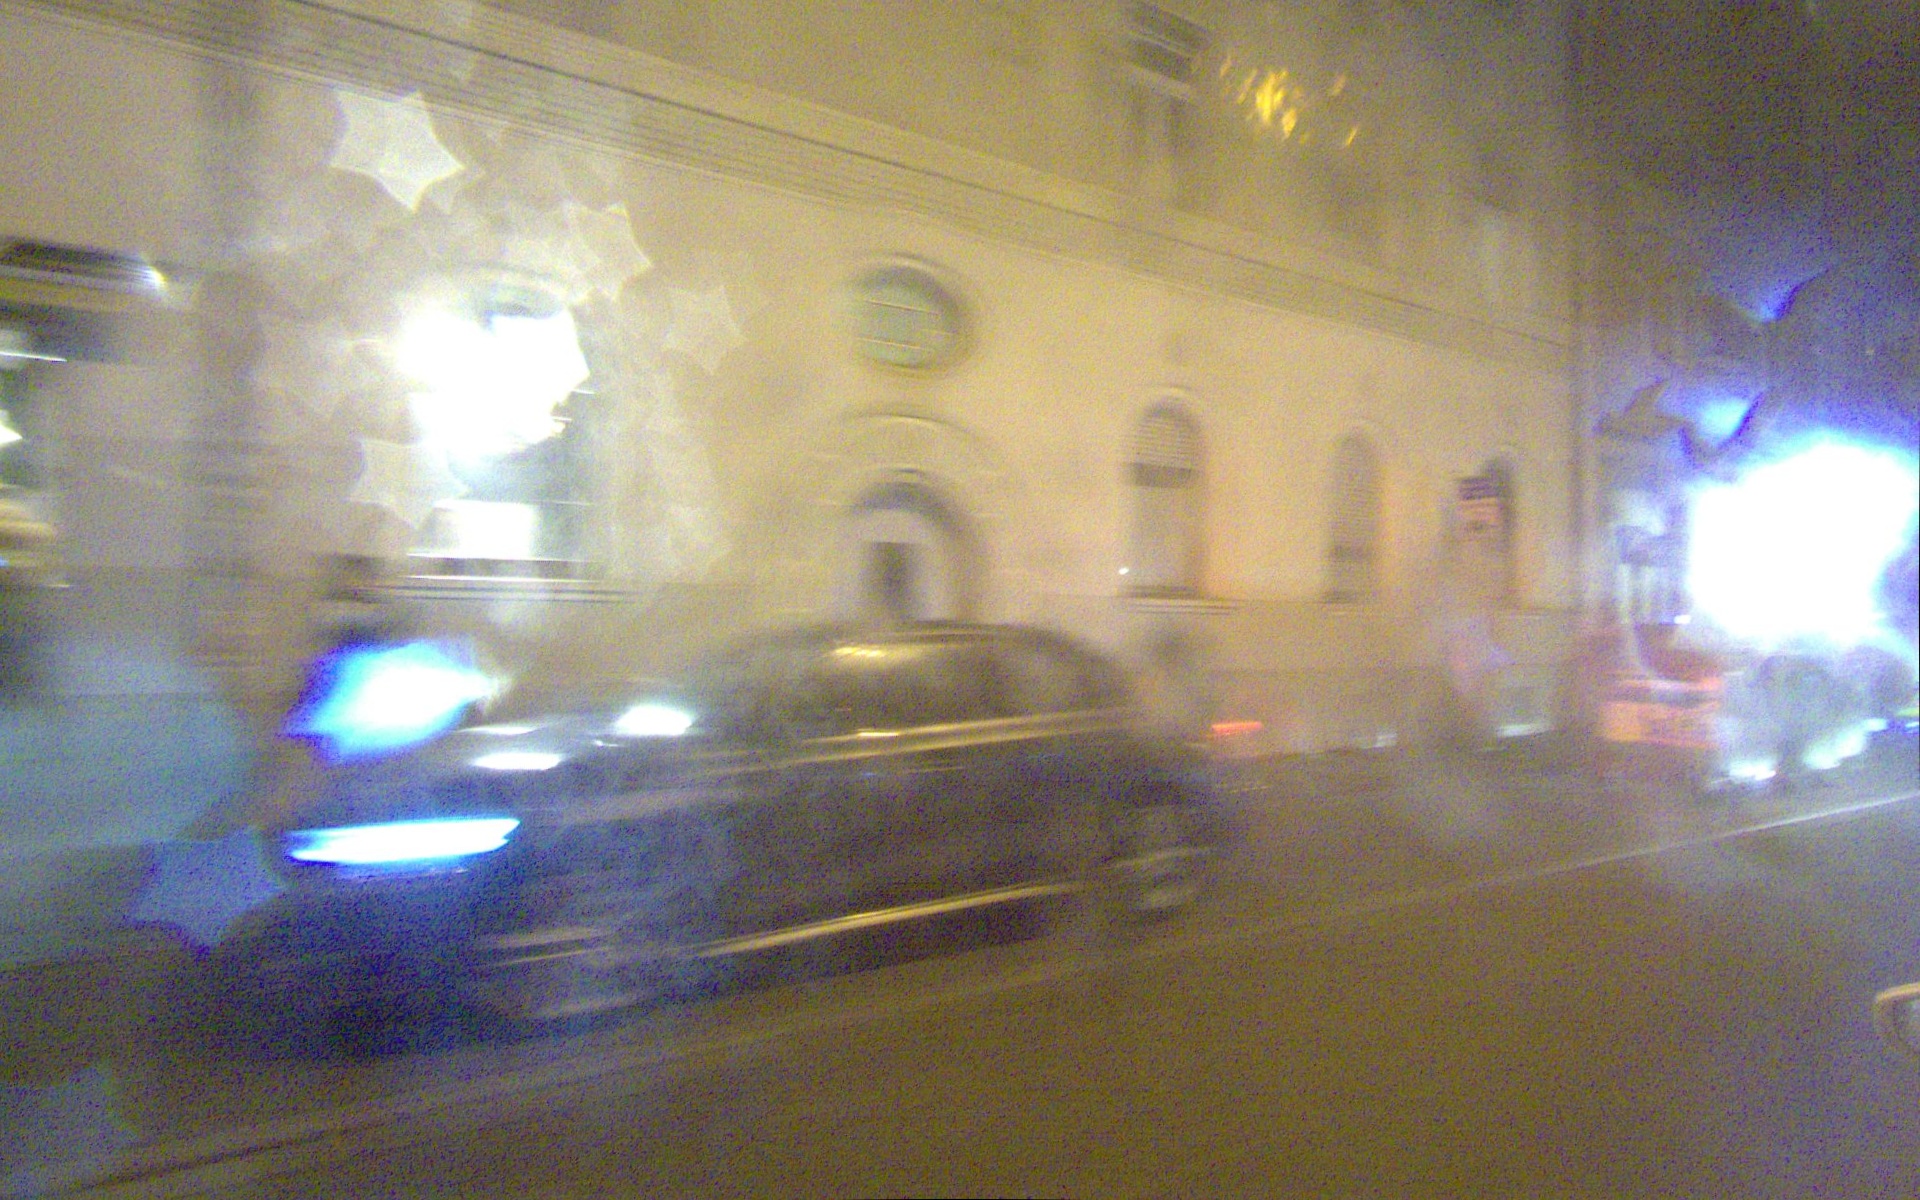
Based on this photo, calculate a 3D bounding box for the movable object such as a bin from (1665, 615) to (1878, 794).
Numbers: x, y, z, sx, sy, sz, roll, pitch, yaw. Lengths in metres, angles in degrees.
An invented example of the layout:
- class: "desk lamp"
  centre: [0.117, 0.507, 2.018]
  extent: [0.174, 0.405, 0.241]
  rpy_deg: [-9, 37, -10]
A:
- class: "movable object such as a bin"
  centre: [7.429, 0.900, 9.228]
  extent: [1.093, 1.479, 1.160]
  rpy_deg: [1, 0, -28]

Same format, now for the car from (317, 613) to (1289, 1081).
- class: "car"
  centre: [-0.521, 0.784, 4.772]
  extent: [4.173, 1.377, 1.646]
  rpy_deg: [1, -1, -31]

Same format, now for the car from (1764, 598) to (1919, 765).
- class: "car"
  centre: [11.252, 0.883, 11.850]
  extent: [3.679, 1.729, 1.595]
  rpy_deg: [1, -1, -31]

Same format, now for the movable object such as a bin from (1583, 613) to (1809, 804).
- class: "movable object such as a bin"
  centre: [6.349, 0.877, 8.710]
  extent: [1.093, 1.479, 1.203]
  rpy_deg: [1, 0, -28]

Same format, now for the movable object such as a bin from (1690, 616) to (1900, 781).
- class: "movable object such as a bin"
  centre: [8.346, 0.929, 10.074]
  extent: [1.136, 1.479, 1.257]
  rpy_deg: [1, 0, -28]

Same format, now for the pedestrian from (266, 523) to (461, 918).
- class: "pedestrian"
  centre: [-3.106, 0.559, 5.285]
  extent: [0.779, 1.806, 1.127]
  rpy_deg: [1, -1, -30]
